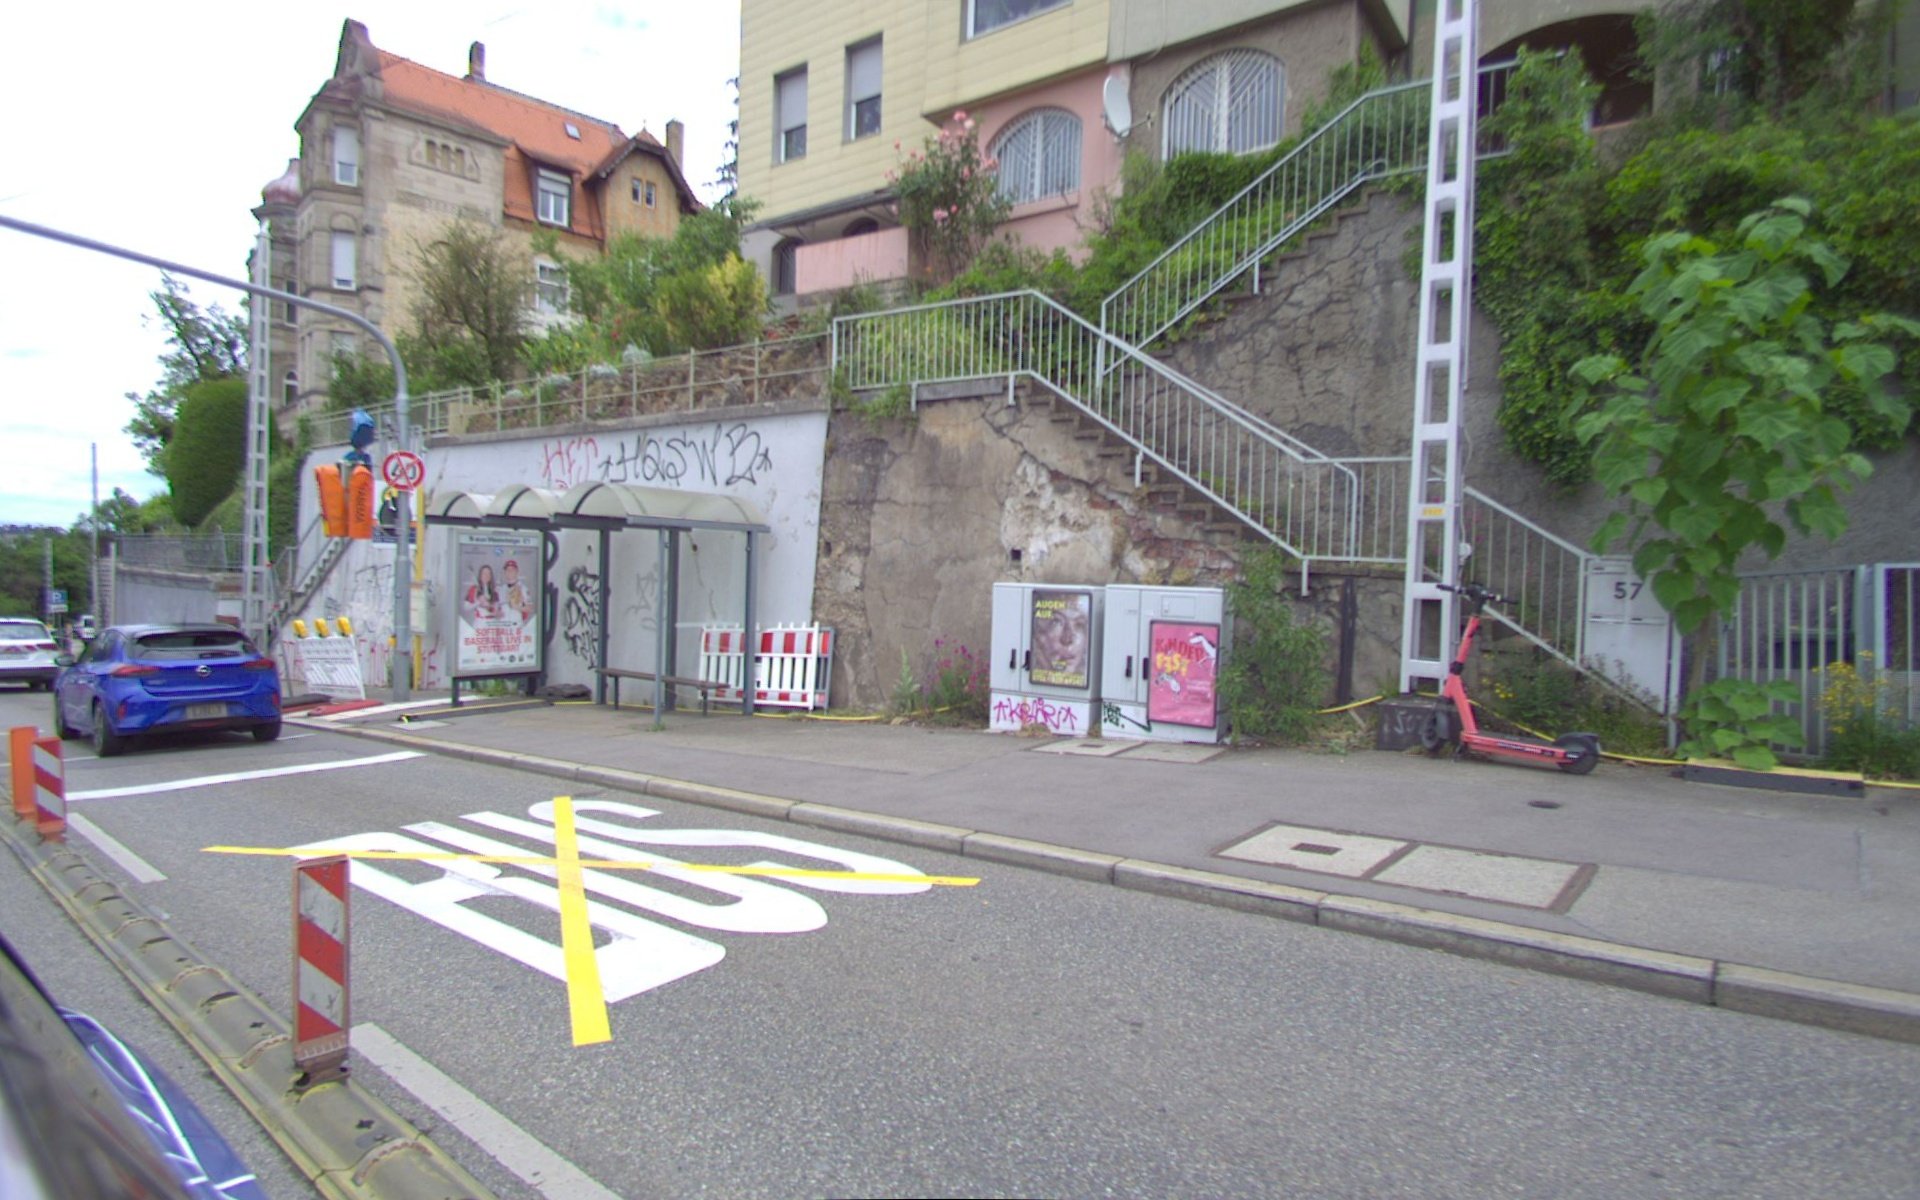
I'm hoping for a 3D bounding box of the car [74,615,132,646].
[{"bbox_3d":[-63.163,2.267,74.693,2.038,2.204,4.978,2,-3,-26],"label":"car"}]

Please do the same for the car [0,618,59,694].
[{"bbox_3d":[-21.968,1.237,22.972,4.262,1.612,1.822,-1,-1,42],"label":"car"}]

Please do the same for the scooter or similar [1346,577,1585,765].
[{"bbox_3d":[3.567,0.475,7.197,1.433,1.214,0.455,-1,1,38],"label":"scooter or similar"}]

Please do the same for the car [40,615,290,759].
[{"bbox_3d":[-9.784,0.927,12.366,3.819,1.431,1.708,-1,1,41],"label":"car"}]

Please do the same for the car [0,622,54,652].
[{"bbox_3d":[-46.512,1.833,50.442,1.776,1.383,4.396,3,-3,-39],"label":"car"}]
